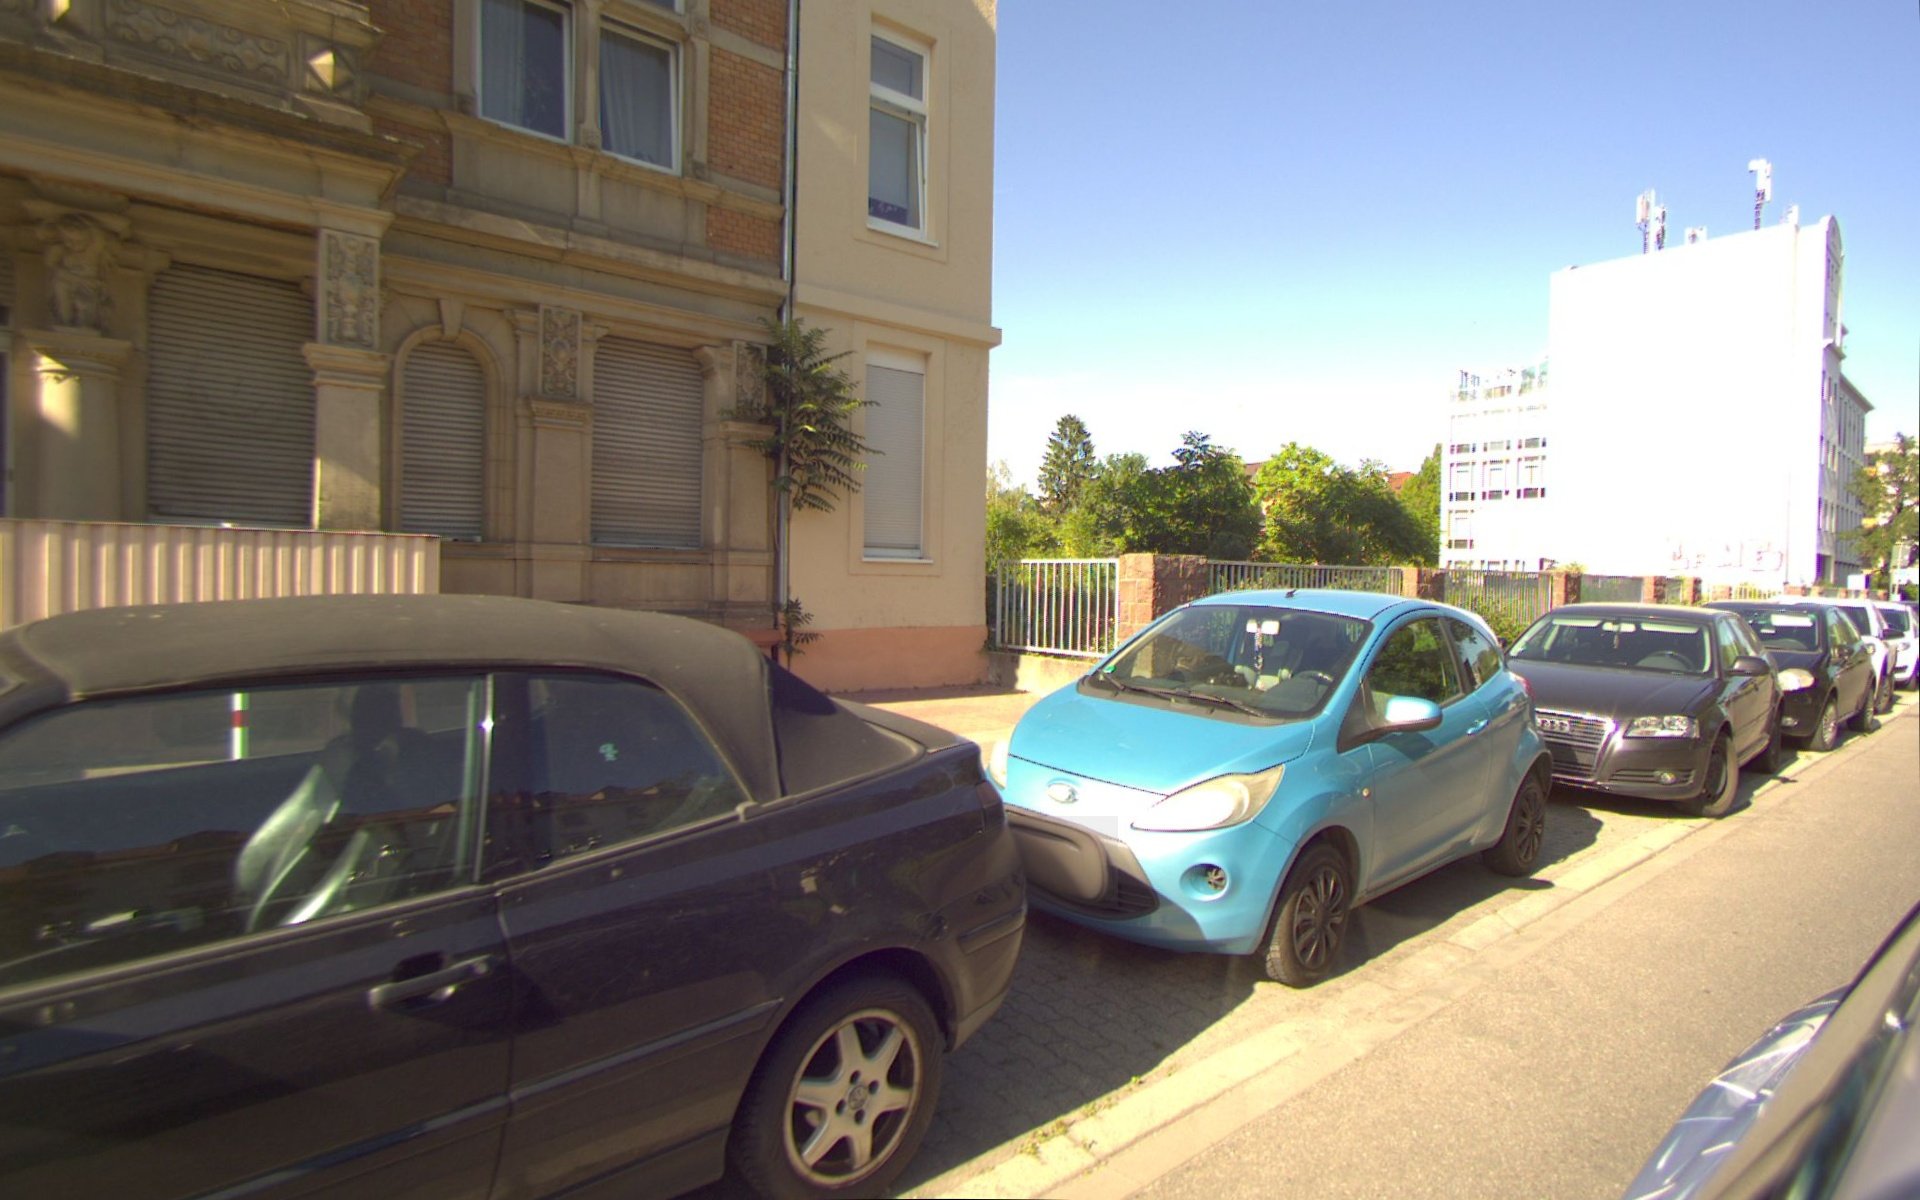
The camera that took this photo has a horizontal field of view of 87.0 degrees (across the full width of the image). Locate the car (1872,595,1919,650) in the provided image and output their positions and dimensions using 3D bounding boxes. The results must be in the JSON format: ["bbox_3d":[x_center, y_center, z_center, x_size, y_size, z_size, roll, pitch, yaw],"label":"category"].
[{"bbox_3d":[23.568,0.558,24.593,3.834,1.197,1.671,0,4,-43],"label":"car"}]

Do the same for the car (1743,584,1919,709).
[{"bbox_3d":[12.656,0.570,14.578,3.601,1.538,1.669,0,2,-44],"label":"car"}]

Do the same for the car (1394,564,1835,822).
[{"bbox_3d":[5.512,0.533,8.277,4.407,1.538,1.938,0,2,-42],"label":"car"}]

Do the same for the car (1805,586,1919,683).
[{"bbox_3d":[16.502,0.562,18.069,3.596,1.463,1.612,0,4,-42],"label":"car"}]

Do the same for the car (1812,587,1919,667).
[{"bbox_3d":[20.001,0.523,22.110,3.921,1.477,1.670,0,4,-45],"label":"car"}]

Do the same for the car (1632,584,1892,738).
[{"bbox_3d":[9.064,0.559,11.341,3.710,1.411,1.670,0,1,-42],"label":"car"}]

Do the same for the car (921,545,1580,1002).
[{"bbox_3d":[1.594,0.560,5.056,3.241,1.488,1.625,1,3,-42],"label":"car"}]

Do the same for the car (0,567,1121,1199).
[{"bbox_3d":[-1.729,0.681,2.085,4.196,1.486,1.672,0,1,-38],"label":"car"}]

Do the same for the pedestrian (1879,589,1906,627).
[{"bbox_3d":[39.984,0.319,43.401,0.881,1.603,0.744,0,0,-41],"label":"pedestrian"}]
